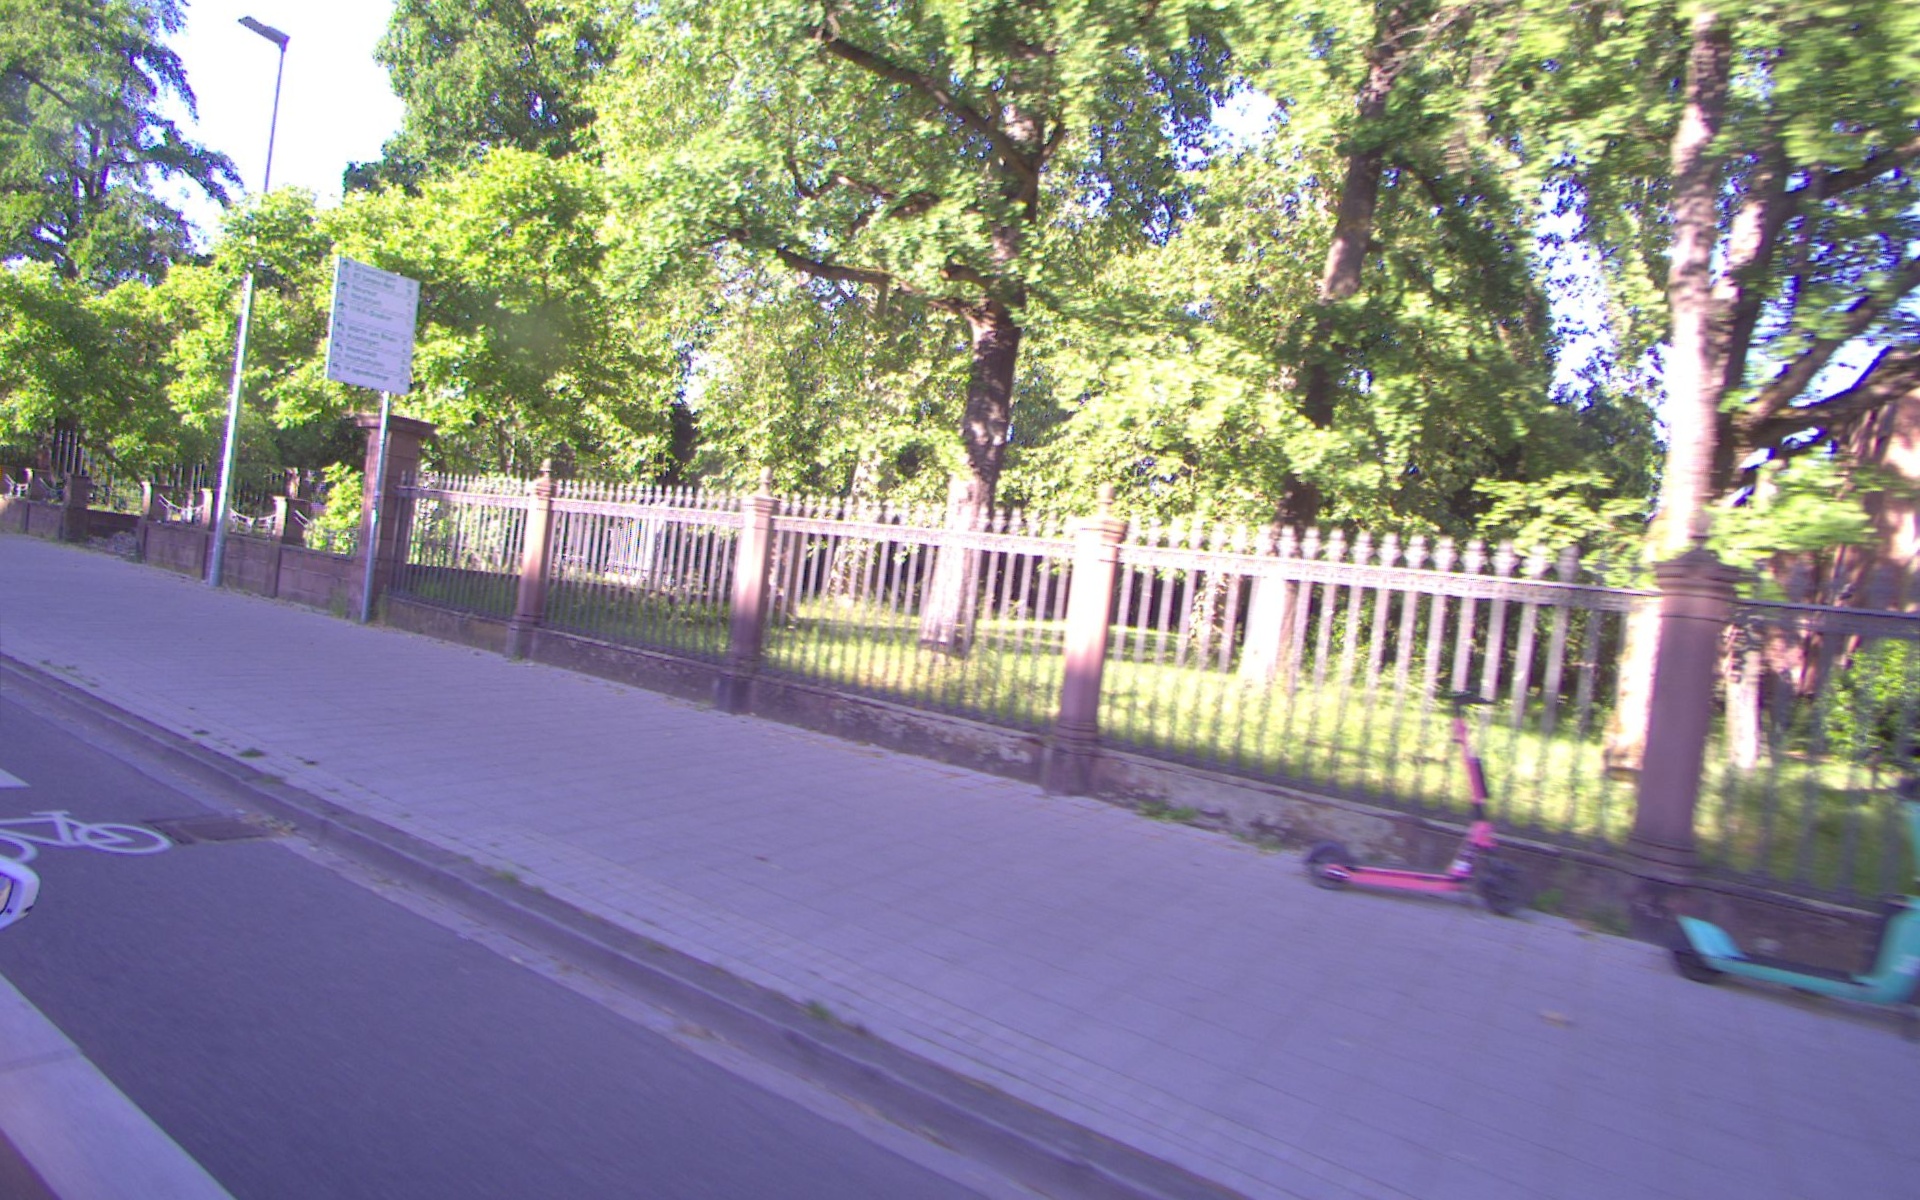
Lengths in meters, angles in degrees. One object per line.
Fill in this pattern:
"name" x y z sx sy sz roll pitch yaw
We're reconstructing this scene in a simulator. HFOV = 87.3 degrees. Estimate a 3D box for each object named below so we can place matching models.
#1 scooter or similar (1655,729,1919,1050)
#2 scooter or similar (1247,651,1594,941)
"scooter or similar" 3.908 1.251 4.359 1.313 1.137 0.481 7 2 29
"scooter or similar" 2.443 1.010 5.522 1.528 1.259 0.549 7 2 16
